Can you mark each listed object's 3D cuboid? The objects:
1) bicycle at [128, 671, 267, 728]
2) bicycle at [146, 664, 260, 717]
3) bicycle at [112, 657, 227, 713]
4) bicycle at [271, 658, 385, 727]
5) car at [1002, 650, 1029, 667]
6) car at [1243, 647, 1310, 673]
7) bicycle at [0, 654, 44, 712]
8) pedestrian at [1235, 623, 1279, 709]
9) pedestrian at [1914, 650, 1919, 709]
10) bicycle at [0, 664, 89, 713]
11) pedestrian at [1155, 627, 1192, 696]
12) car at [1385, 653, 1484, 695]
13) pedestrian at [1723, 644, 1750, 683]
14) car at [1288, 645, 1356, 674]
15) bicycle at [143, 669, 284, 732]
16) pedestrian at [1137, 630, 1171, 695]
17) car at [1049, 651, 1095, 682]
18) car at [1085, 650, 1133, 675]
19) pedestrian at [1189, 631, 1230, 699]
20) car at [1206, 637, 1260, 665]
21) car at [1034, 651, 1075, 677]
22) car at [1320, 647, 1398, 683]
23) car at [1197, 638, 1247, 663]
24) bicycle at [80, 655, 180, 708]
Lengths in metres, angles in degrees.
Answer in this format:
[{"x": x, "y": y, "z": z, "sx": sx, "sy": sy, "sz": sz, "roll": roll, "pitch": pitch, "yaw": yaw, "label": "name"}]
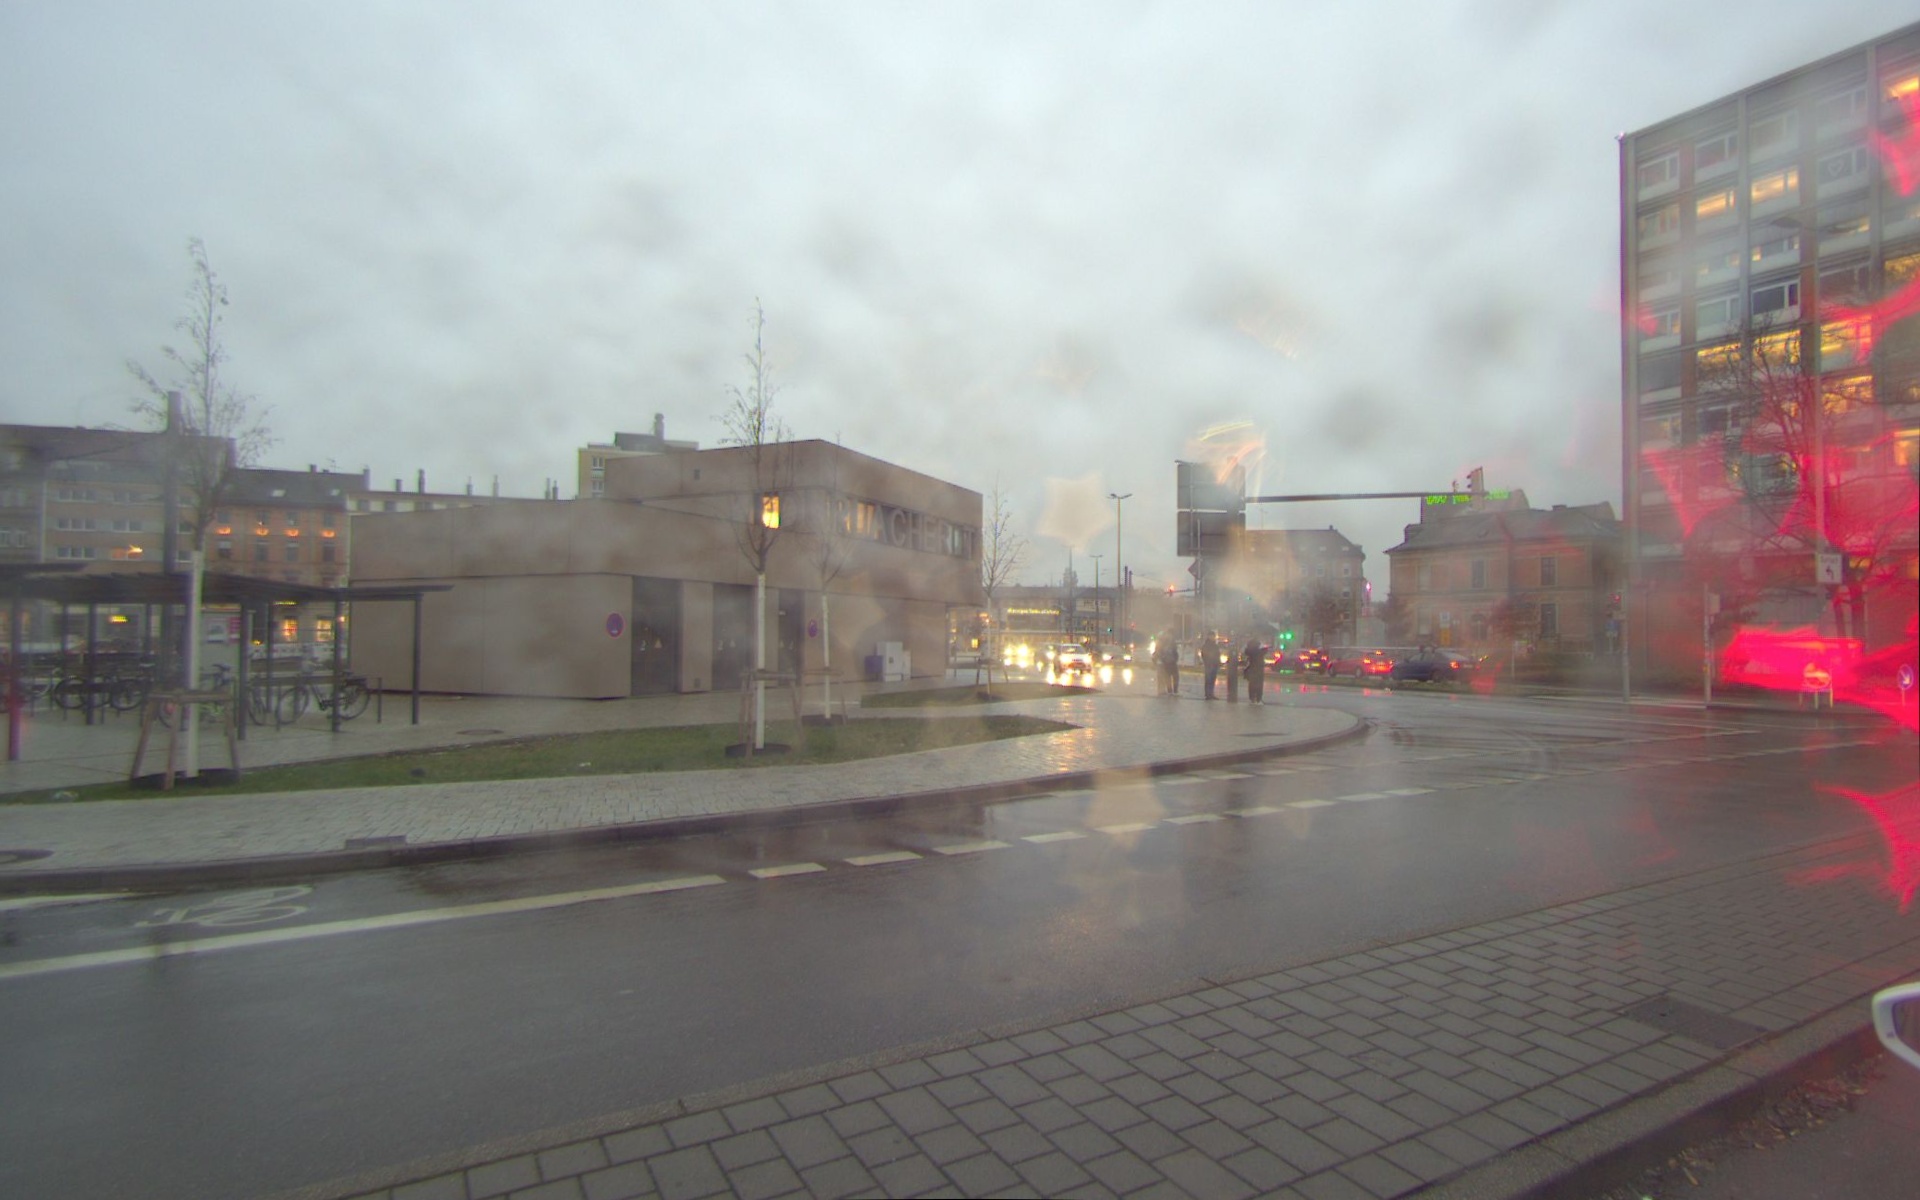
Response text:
[{"x": -13.573, "y": 1.748, "z": 17.951, "sx": 0.466, "sy": 0.903, "sz": 1.923, "roll": 1, "pitch": -2, "yaw": 29, "label": "bicycle"}, {"x": -15.166, "y": 1.790, "z": 20.174, "sx": 0.466, "sy": 0.968, "sz": 1.767, "roll": 1, "pitch": -2, "yaw": 29, "label": "bicycle"}, {"x": -16.516, "y": 1.748, "z": 21.039, "sx": 0.466, "sy": 1.087, "sz": 1.830, "roll": 1, "pitch": -2, "yaw": 26, "label": "bicycle"}, {"x": -11.736, "y": 1.686, "z": 18.719, "sx": 0.605, "sy": 1.172, "sz": 1.755, "roll": 1, "pitch": -2, "yaw": 20, "label": "bicycle"}, {"x": 5.090, "y": 5.401, "z": 92.976, "sx": 1.777, "sy": 1.496, "sz": 4.589, "roll": 1, "pitch": -3, "yaw": -6, "label": "car"}, {"x": 20.108, "y": 3.820, "z": 63.975, "sx": 3.741, "sy": 1.502, "sz": 1.602, "roll": 2, "pitch": 0, "yaw": -1, "label": "car"}, {"x": -19.380, "y": 1.644, "z": 19.839, "sx": 0.466, "sy": 1.122, "sz": 1.797, "roll": 1, "pitch": -2, "yaw": 29, "label": "bicycle"}, {"x": 7.214, "y": 1.588, "z": 24.381, "sx": 0.971, "sy": 2.047, "sz": 0.802, "roll": -1, "pitch": -2, "yaw": 19, "label": "pedestrian"}, {"x": 31.200, "y": 2.508, "z": 31.726, "sx": 1.118, "sy": 1.867, "sz": 1.003, "roll": -2, "pitch": -2, "yaw": -8, "label": "pedestrian"}, {"x": -18.495, "y": 1.745, "z": 19.990, "sx": 0.466, "sy": 0.903, "sz": 1.693, "roll": 1, "pitch": -2, "yaw": 24, "label": "bicycle"}, {"x": 5.899, "y": 1.696, "z": 27.708, "sx": 0.671, "sy": 1.863, "sz": 0.726, "roll": 1, "pitch": -3, "yaw": -42, "label": "pedestrian"}, {"x": 21.288, "y": 3.312, "z": 45.219, "sx": 1.798, "sy": 1.589, "sz": 3.985, "roll": 2, "pitch": 0, "yaw": -17, "label": "car"}, {"x": 34.667, "y": 2.845, "z": 44.848, "sx": 0.626, "sy": 1.710, "sz": 0.640, "roll": 0, "pitch": -2, "yaw": -13, "label": "pedestrian"}, {"x": 20.920, "y": 3.421, "z": 58.074, "sx": 3.364, "sy": 1.481, "sz": 1.515, "roll": 2, "pitch": 0, "yaw": -1, "label": "car"}, {"x": -12.922, "y": 1.714, "z": 17.459, "sx": 0.466, "sy": 0.989, "sz": 1.923, "roll": 1, "pitch": -2, "yaw": 29, "label": "bicycle"}, {"x": 5.455, "y": 1.751, "z": 28.215, "sx": 0.544, "sy": 1.793, "sz": 0.734, "roll": 1, "pitch": -3, "yaw": -43, "label": "pedestrian"}, {"x": 5.923, "y": 3.508, "z": 53.527, "sx": 1.712, "sy": 1.467, "sz": 3.711, "roll": 0, "pitch": -2, "yaw": -5, "label": "car"}, {"x": 9.675, "y": 4.057, "z": 65.625, "sx": 1.778, "sy": 1.496, "sz": 4.586, "roll": 1, "pitch": -3, "yaw": -9, "label": "car"}, {"x": 6.603, "y": 1.715, "z": 26.626, "sx": 0.838, "sy": 1.778, "sz": 0.659, "roll": 0, "pitch": -2, "yaw": -14, "label": "pedestrian"}, {"x": 19.640, "y": 3.670, "z": 72.350, "sx": 3.514, "sy": 1.850, "sz": 1.672, "roll": 2, "pitch": 0, "yaw": 8, "label": "car"}, {"x": 6.133, "y": 4.169, "z": 65.469, "sx": 1.902, "sy": 1.572, "sz": 4.698, "roll": 1, "pitch": -3, "yaw": -4, "label": "car"}, {"x": 20.513, "y": 3.322, "z": 51.813, "sx": 1.795, "sy": 1.589, "sz": 3.991, "roll": 2, "pitch": 0, "yaw": -11, "label": "car"}, {"x": 19.410, "y": 3.737, "z": 74.495, "sx": 3.321, "sy": 1.724, "sz": 1.526, "roll": 2, "pitch": 0, "yaw": 8, "label": "car"}, {"x": -17.673, "y": 1.722, "z": 21.433, "sx": 0.511, "sy": 1.050, "sz": 1.573, "roll": 1, "pitch": -2, "yaw": 19, "label": "bicycle"}]
